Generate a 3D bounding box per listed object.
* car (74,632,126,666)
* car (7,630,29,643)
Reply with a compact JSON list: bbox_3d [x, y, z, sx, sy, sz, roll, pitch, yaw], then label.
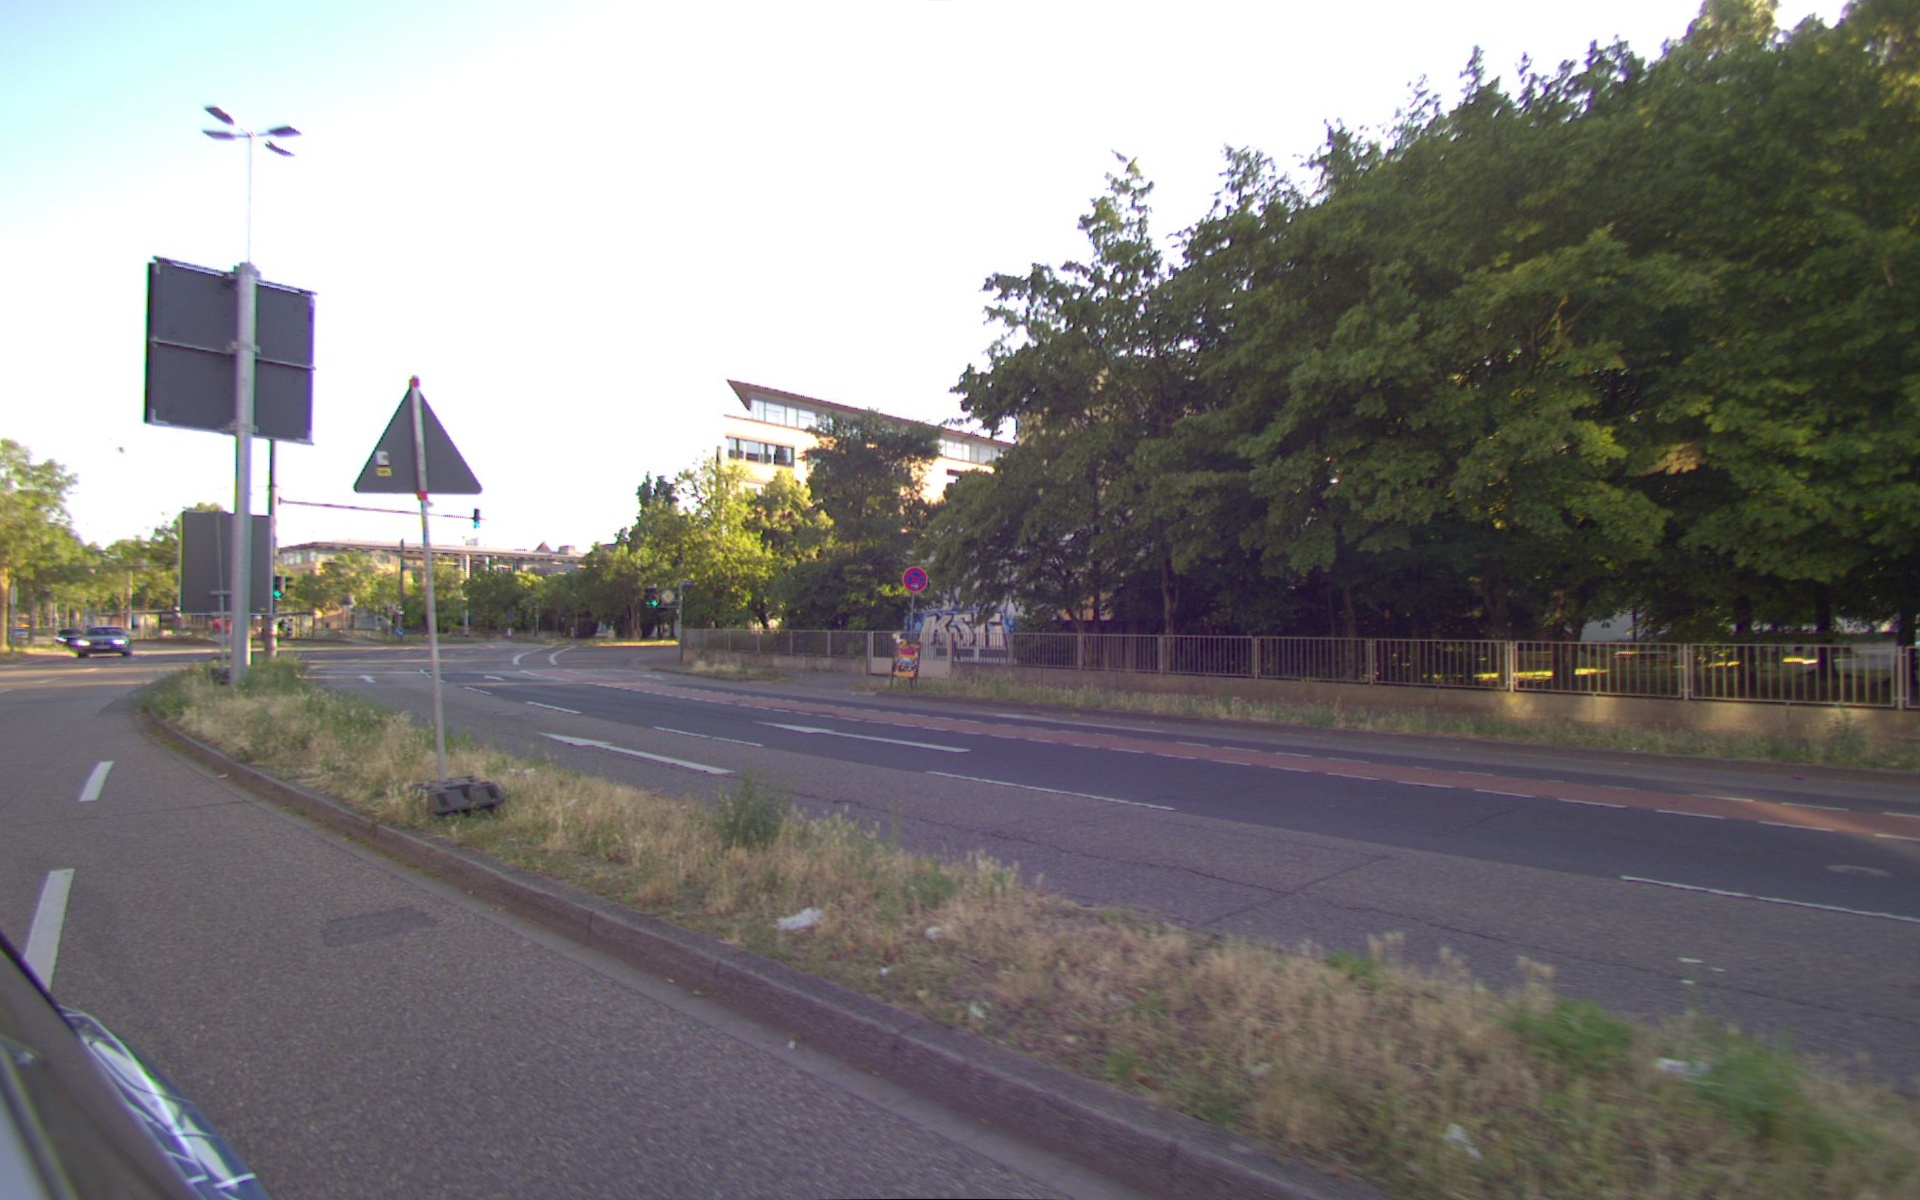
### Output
[{"bbox_3d":[-40.466,2.277,47.604,1.792,1.460,4.673,0,-1,-41],"label":"car"},{"bbox_3d":[-108.213,4.174,116.324,1.650,1.429,4.447,2,-2,-41],"label":"car"}]
